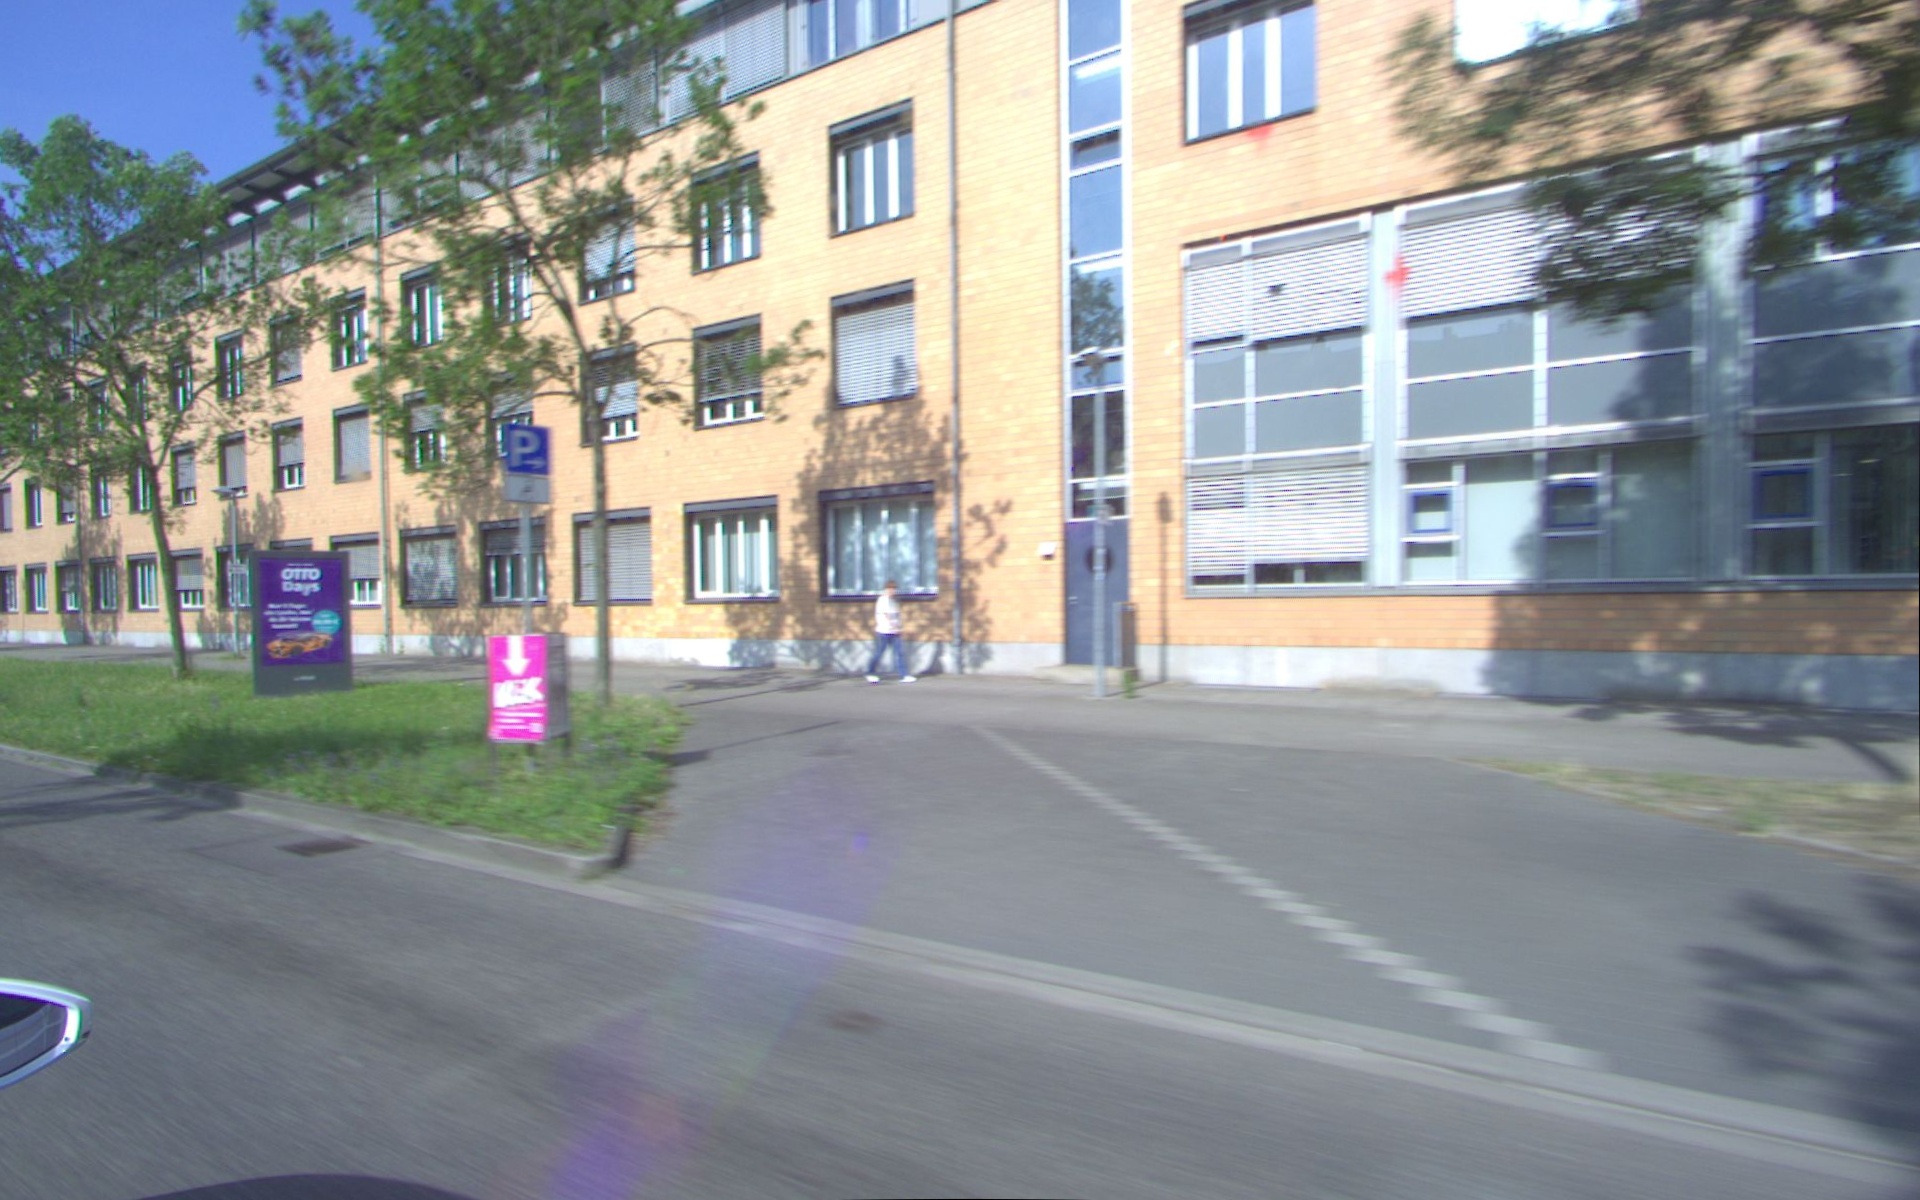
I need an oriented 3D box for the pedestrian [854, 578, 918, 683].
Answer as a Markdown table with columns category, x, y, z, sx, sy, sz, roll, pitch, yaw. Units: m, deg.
| category | x | y | z | sx | sy | sz | roll | pitch | yaw |
| --- | --- | --- | --- | --- | --- | --- | --- | --- | --- |
| pedestrian | -1.208 | 0.489 | 16.433 | 0.762 | 1.678 | 0.694 | -1 | 1 | 33 |
